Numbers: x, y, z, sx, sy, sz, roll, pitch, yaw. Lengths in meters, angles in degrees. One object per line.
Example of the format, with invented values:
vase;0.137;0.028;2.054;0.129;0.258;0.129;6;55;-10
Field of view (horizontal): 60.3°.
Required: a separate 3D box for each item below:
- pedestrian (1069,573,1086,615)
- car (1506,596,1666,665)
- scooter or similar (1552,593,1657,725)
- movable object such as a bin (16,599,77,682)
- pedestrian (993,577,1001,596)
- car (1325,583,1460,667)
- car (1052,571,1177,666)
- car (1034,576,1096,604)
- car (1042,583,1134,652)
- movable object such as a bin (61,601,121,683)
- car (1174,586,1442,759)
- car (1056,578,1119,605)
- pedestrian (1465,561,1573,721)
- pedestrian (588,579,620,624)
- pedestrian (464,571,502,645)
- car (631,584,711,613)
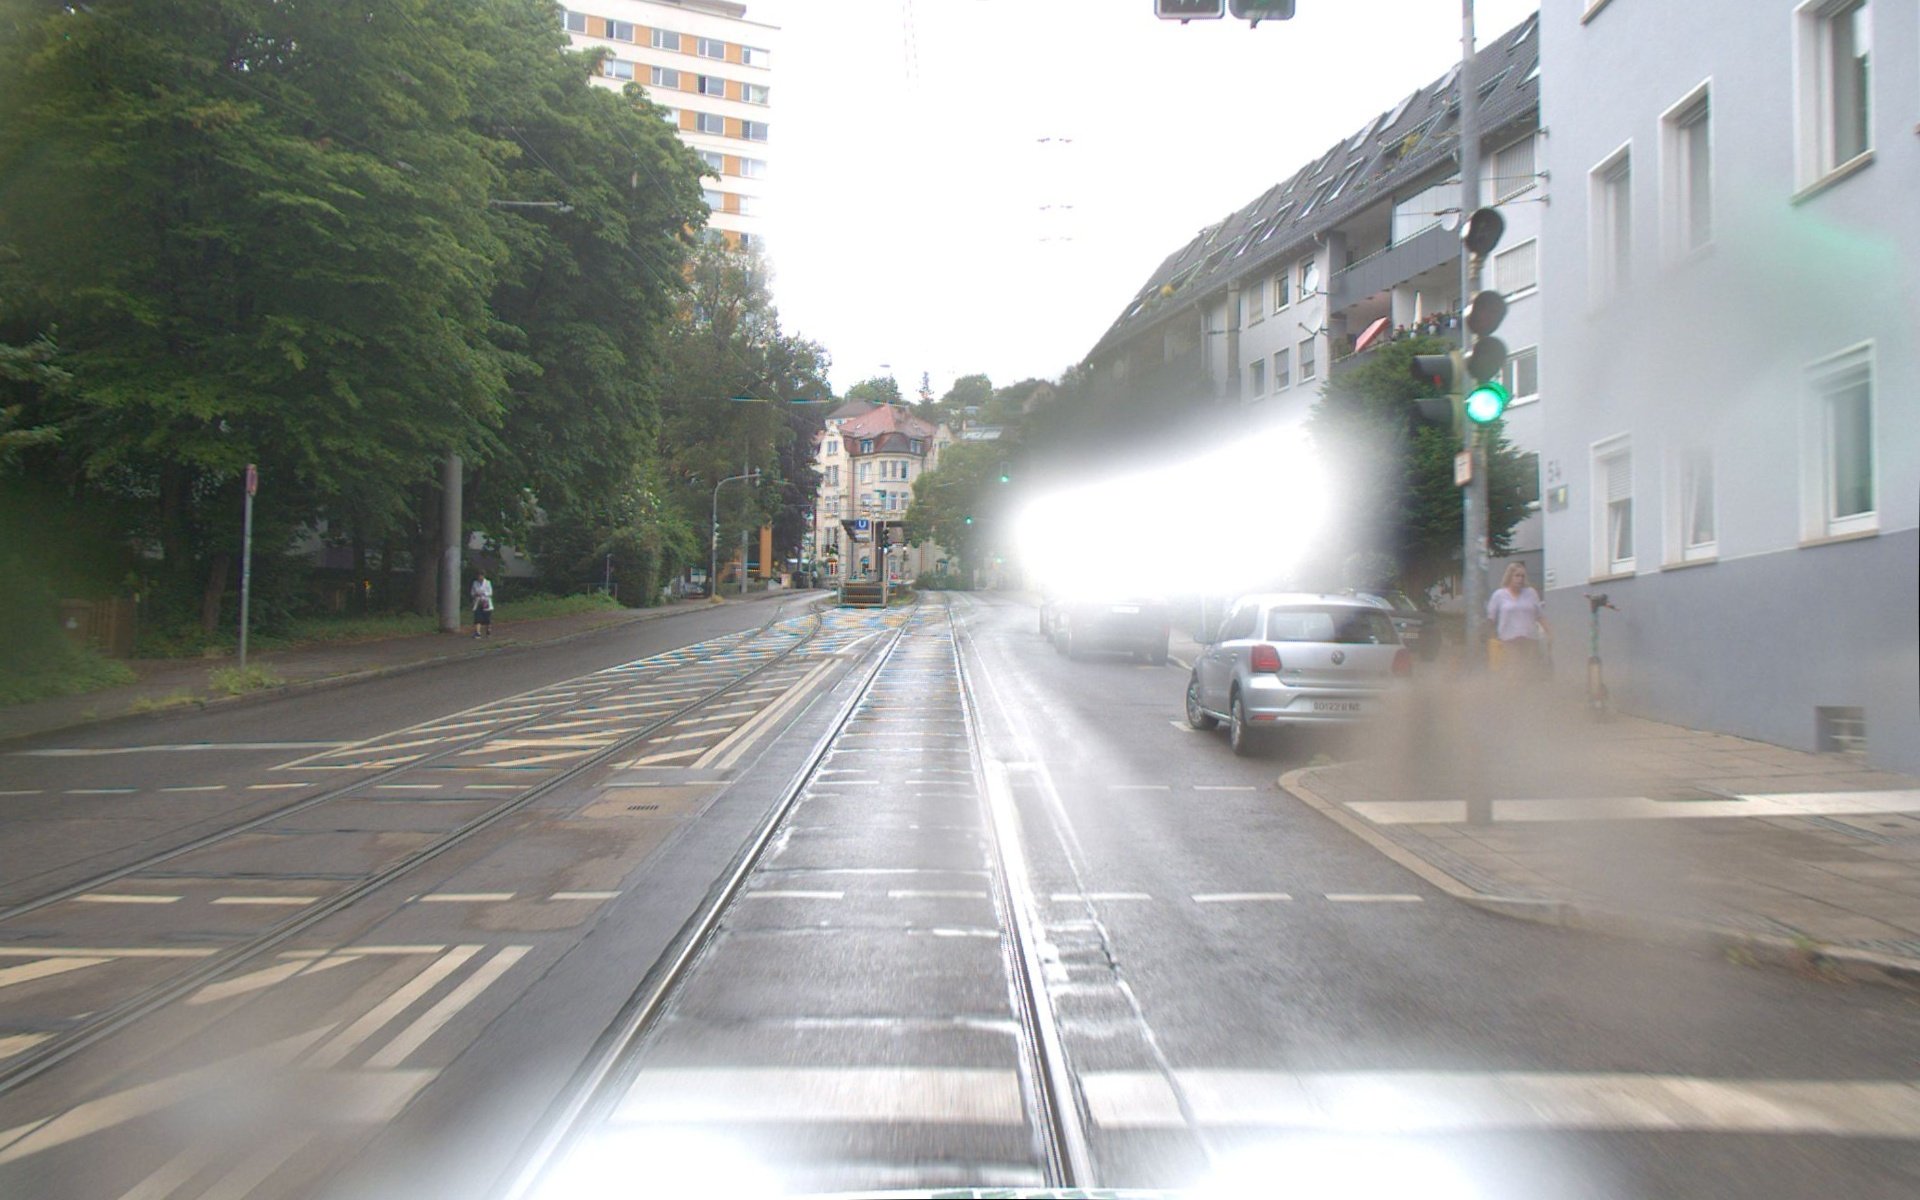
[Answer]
pedestrian;4.741;-0.226;66.641;0.631;1.657;0.699;1;-1;4
car;13.550;0.631;36.087;1.740;1.403;4.429;1;0;-1
scooter or similar;6.622;0.573;17.063;0.562;1.271;1.611;0;1;4
movable object such as a bin;-14.267;0.635;25.836;0.662;1.255;0.617;5;-5;-43
pedestrian;3.020;-1.129;135.695;0.567;1.492;0.543;2;-4;-9
car;9.070;0.584;34.990;1.685;1.541;4.202;1;-3;-1
car;2.967;0.332;32.719;1.868;1.670;4.688;2;0;-2
car;6.914;-0.679;109.475;3.906;1.674;1.807;1;-2;-2
car;2.935;0.378;38.629;1.670;1.452;4.249;2;0;-2
movable object such as a bin;-13.838;0.676;26.345;0.662;1.255;0.617;5;-5;-43
car;3.301;0.628;16.467;1.670;1.458;4.100;2;0;-2
car;8.146;-0.529;105.783;3.765;1.570;1.806;2;-2;-3
pedestrian;5.816;0.414;17.236;0.864;1.611;0.801;-1;2;1
pedestrian;-13.900;0.052;64.618;0.897;1.707;0.740;0;-4;25
pedestrian;-10.914;0.182;37.852;0.571;1.628;0.868;3;-1;-5
car;-15.401;-0.088;88.176;3.905;1.431;1.682;0;-4;22
